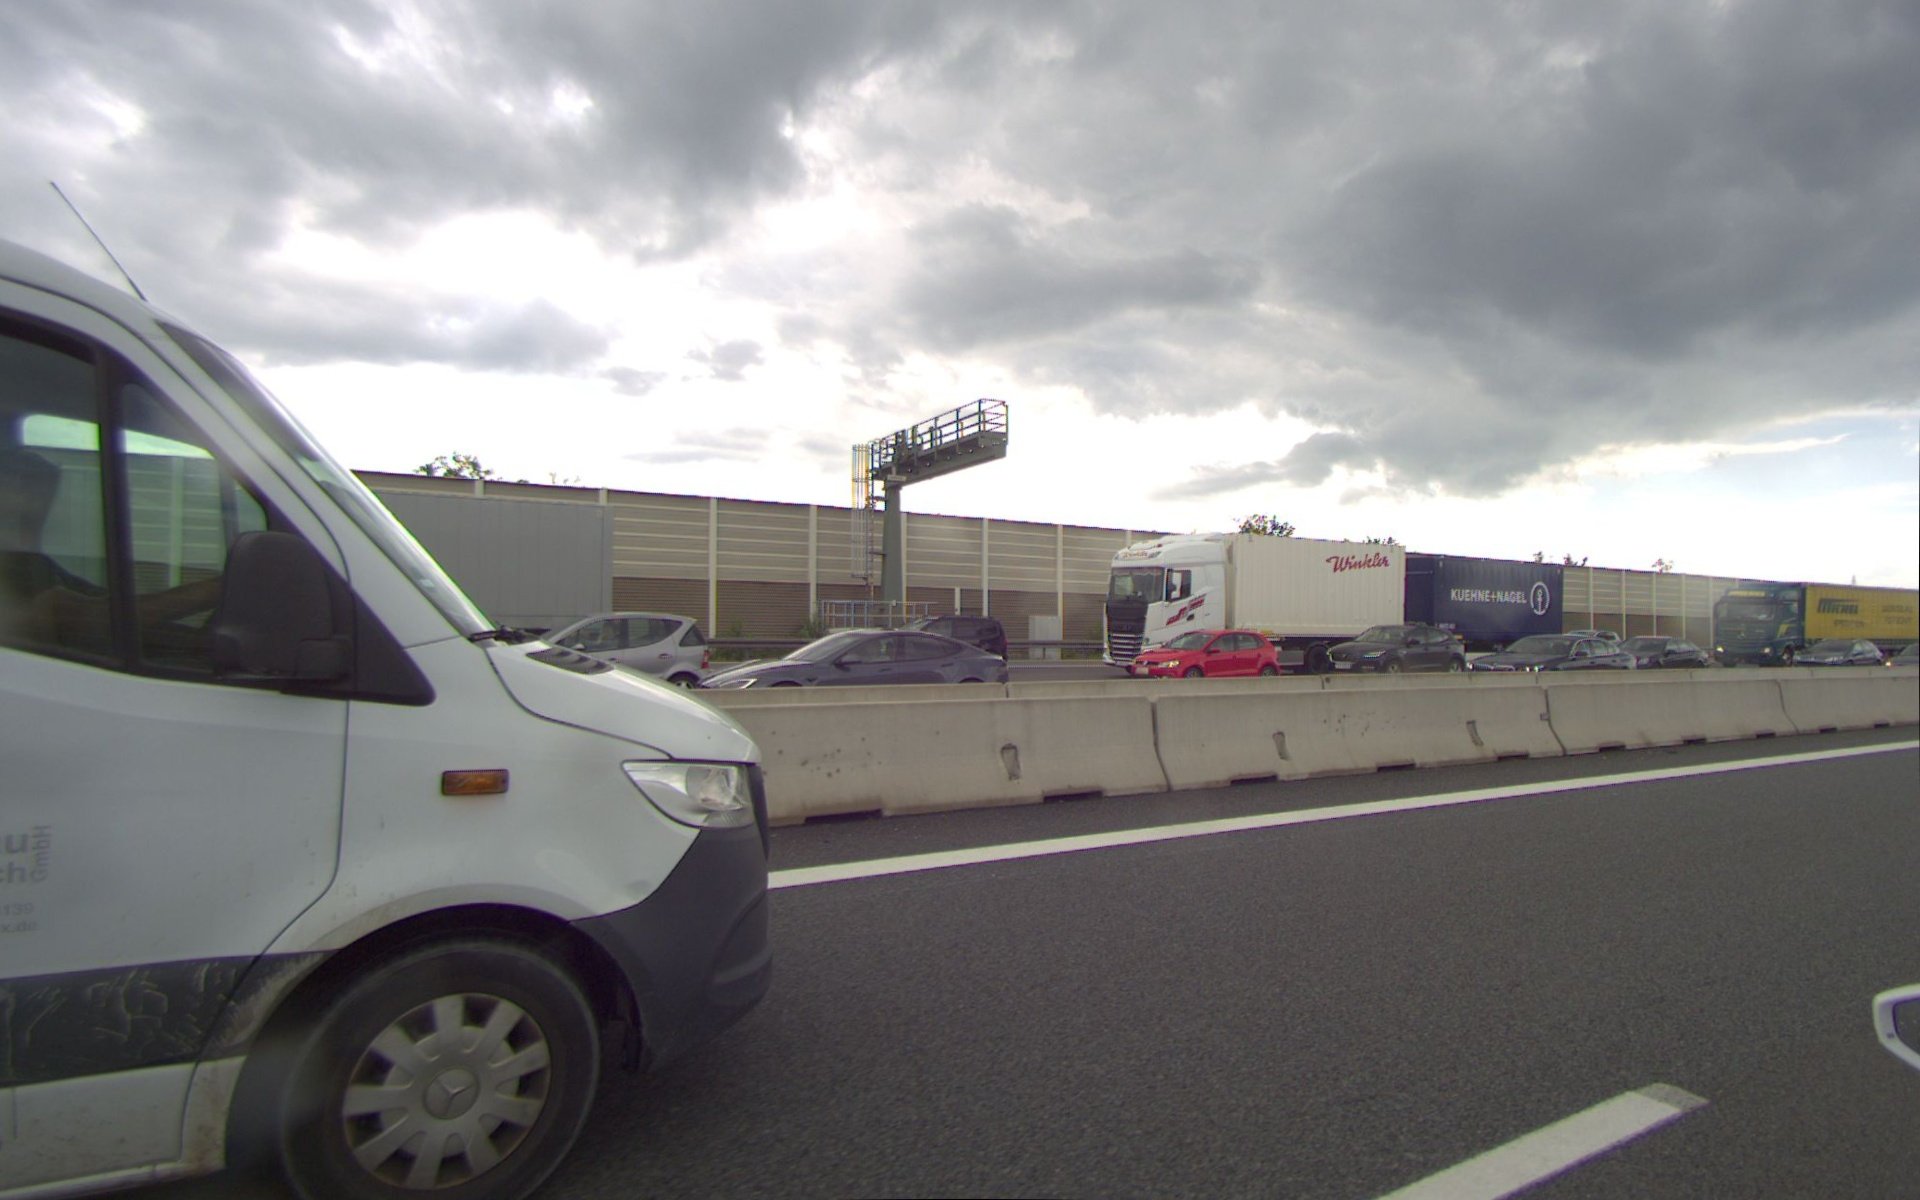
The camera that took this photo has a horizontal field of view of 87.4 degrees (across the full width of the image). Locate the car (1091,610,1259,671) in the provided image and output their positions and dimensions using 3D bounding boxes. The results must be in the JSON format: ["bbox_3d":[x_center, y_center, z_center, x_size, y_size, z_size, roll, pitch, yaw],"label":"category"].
[{"bbox_3d":[7.323,1.359,33.999,5.741,1.917,2.051,1,-1,-31],"label":"car"}]

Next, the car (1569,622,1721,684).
[{"bbox_3d":[23.299,1.757,34.089,5.741,1.917,2.051,1,-1,-31],"label":"car"}]

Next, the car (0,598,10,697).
[{"bbox_3d":[-17.794,0.704,14.361,5.739,1.621,2.051,1,-1,-30],"label":"car"}]

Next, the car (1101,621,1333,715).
[{"bbox_3d":[6.334,1.581,24.494,5.741,2.029,2.051,1,-1,-31],"label":"car"}]

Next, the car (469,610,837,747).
[{"bbox_3d":[-5.168,1.234,17.235,5.739,2.029,2.051,1,-1,-30],"label":"car"}]

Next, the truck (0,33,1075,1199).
[{"bbox_3d":[-3.261,0.186,2.231,7.067,2.472,2.295,2,-1,-31],"label":"truck"}]

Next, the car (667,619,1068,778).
[{"bbox_3d":[-1.294,1.347,15.247,5.739,2.029,2.051,1,-1,-30],"label":"car"}]

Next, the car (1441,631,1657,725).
[{"bbox_3d":[14.452,1.821,24.536,5.741,2.029,2.051,1,-1,-31],"label":"car"}]

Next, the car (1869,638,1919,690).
[{"bbox_3d":[35.817,2.304,36.890,5.741,1.778,2.051,1,-1,-31],"label":"car"}]

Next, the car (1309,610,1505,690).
[{"bbox_3d":[12.413,1.340,27.752,5.741,2.029,2.051,1,-1,-31],"label":"car"}]

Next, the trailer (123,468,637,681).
[{"bbox_3d":[-12.107,-0.362,22.042,9.175,3.923,2.709,1,-1,-31],"label":"trailer"}]

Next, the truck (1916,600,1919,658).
[{"bbox_3d":[69.913,2.086,70.333,5.657,4.088,2.733,2,-1,-29],"label":"truck"}]

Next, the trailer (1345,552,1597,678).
[{"bbox_3d":[18.198,0.586,35.468,9.997,3.992,2.918,1,-1,-30],"label":"trailer"}]

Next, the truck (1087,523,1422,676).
[{"bbox_3d":[9.110,0.112,30.256,10.933,3.998,2.924,1,-1,-30],"label":"truck"}]

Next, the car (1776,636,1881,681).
[{"bbox_3d":[36.000,2.395,41.607,4.360,1.722,2.051,1,-1,-31],"label":"car"}]

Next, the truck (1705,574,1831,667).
[{"bbox_3d":[37.702,0.973,46.843,5.659,4.088,2.732,2,-1,-30],"label":"truck"}]

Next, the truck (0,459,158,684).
[{"bbox_3d":[-20.520,-0.574,17.062,10.377,3.950,2.673,1,-1,-31],"label":"truck"}]

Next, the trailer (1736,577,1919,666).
[{"bbox_3d":[44.014,1.193,50.543,14.283,4.085,2.748,2,-1,-30],"label":"trailer"}]
